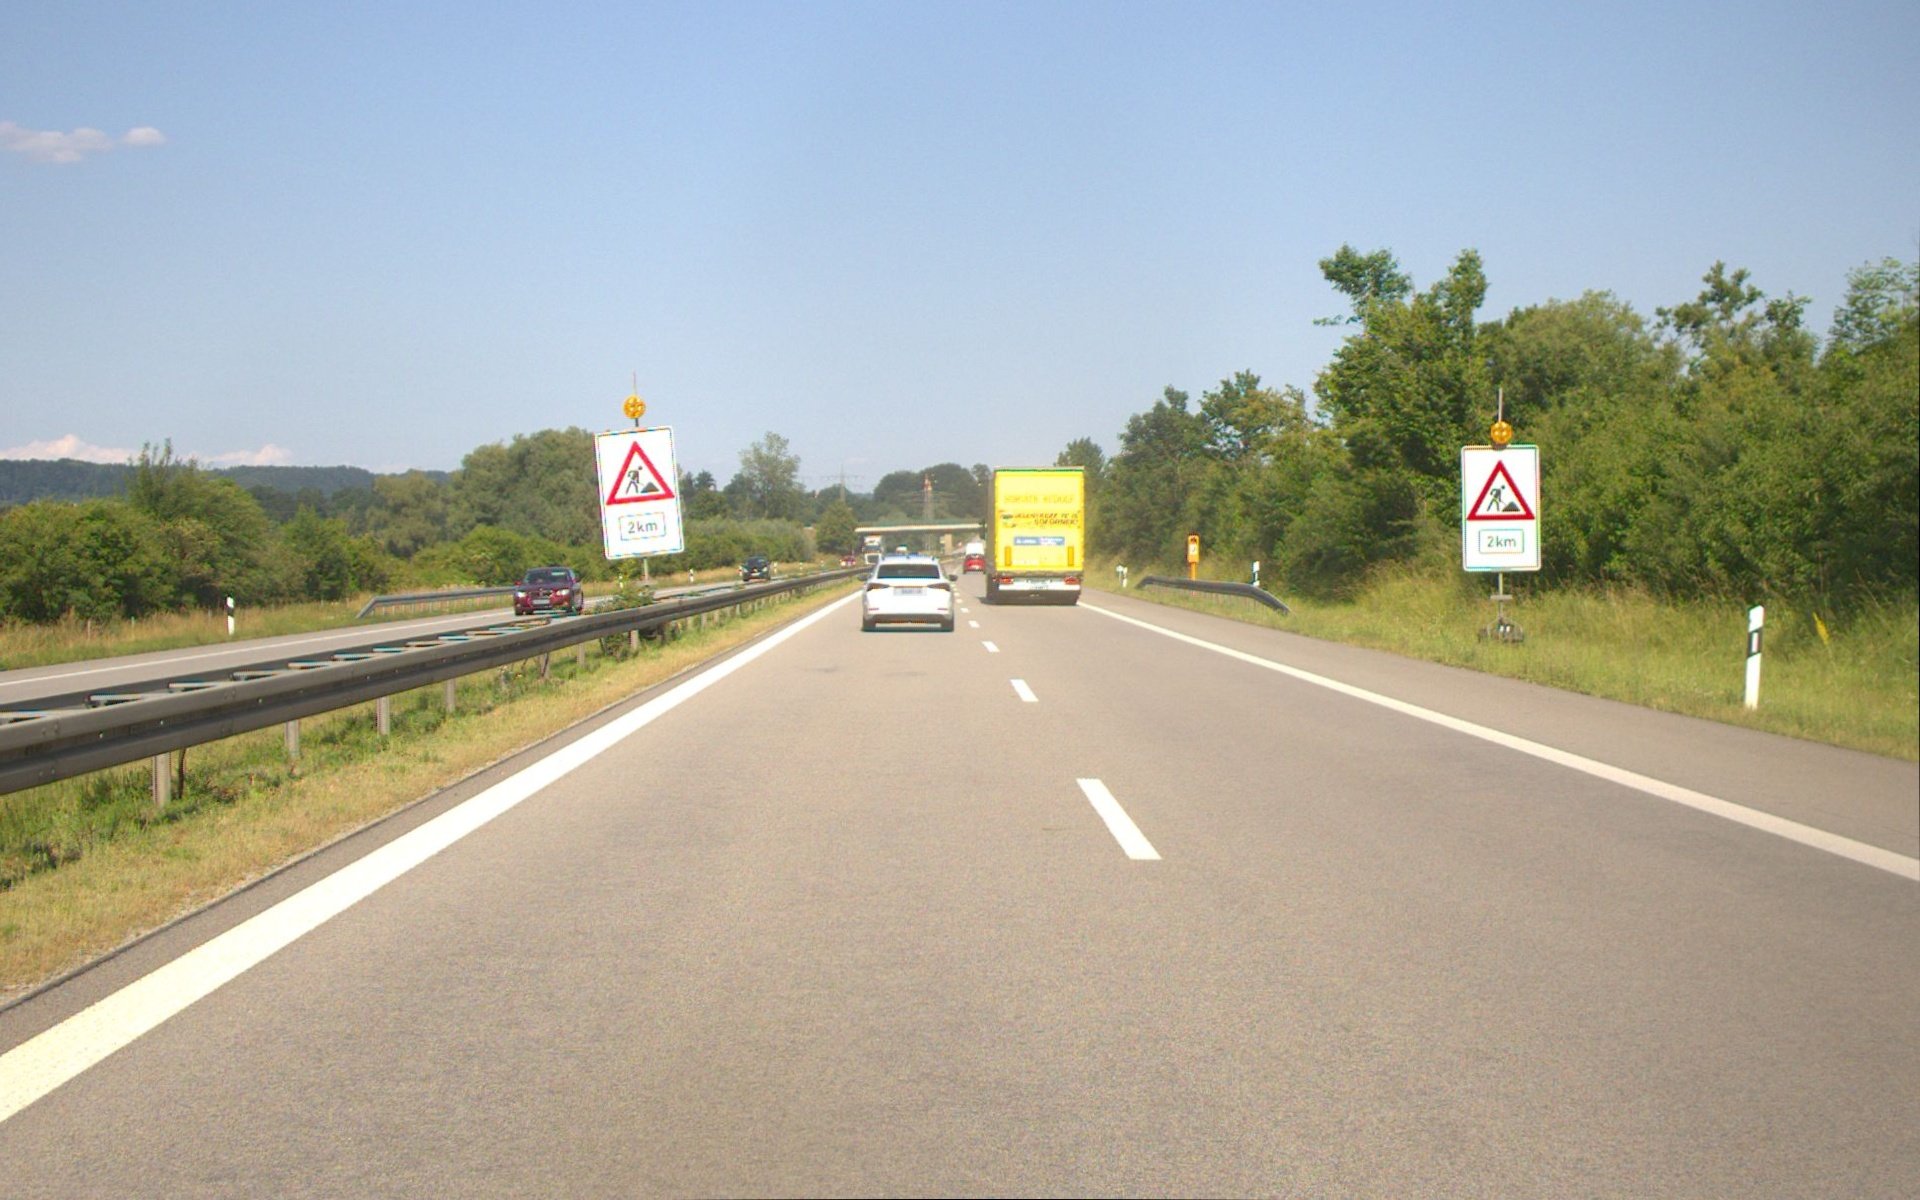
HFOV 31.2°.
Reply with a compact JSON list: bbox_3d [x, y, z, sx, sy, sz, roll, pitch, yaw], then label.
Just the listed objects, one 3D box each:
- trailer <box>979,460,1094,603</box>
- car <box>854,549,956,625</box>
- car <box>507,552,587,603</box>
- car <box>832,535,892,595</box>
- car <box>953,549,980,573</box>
[{"bbox_3d":[2.240,-2.039,105.534,3.184,4.045,13.187,1,1,0],"label":"trailer"},{"bbox_3d":[-1.044,-0.260,67.048,1.843,1.411,4.000,1,1,1],"label":"car"},{"bbox_3d":[-12.398,-0.702,103.441,1.832,1.393,4.923,-3,1,-1],"label":"car"},{"bbox_3d":[-3.400,-1.219,120.142,1.993,2.007,4.000,1,1,-1],"label":"car"},{"bbox_3d":[0.451,-2.914,256.855,1.902,1.677,4.731,2,1,-1],"label":"car"}]
